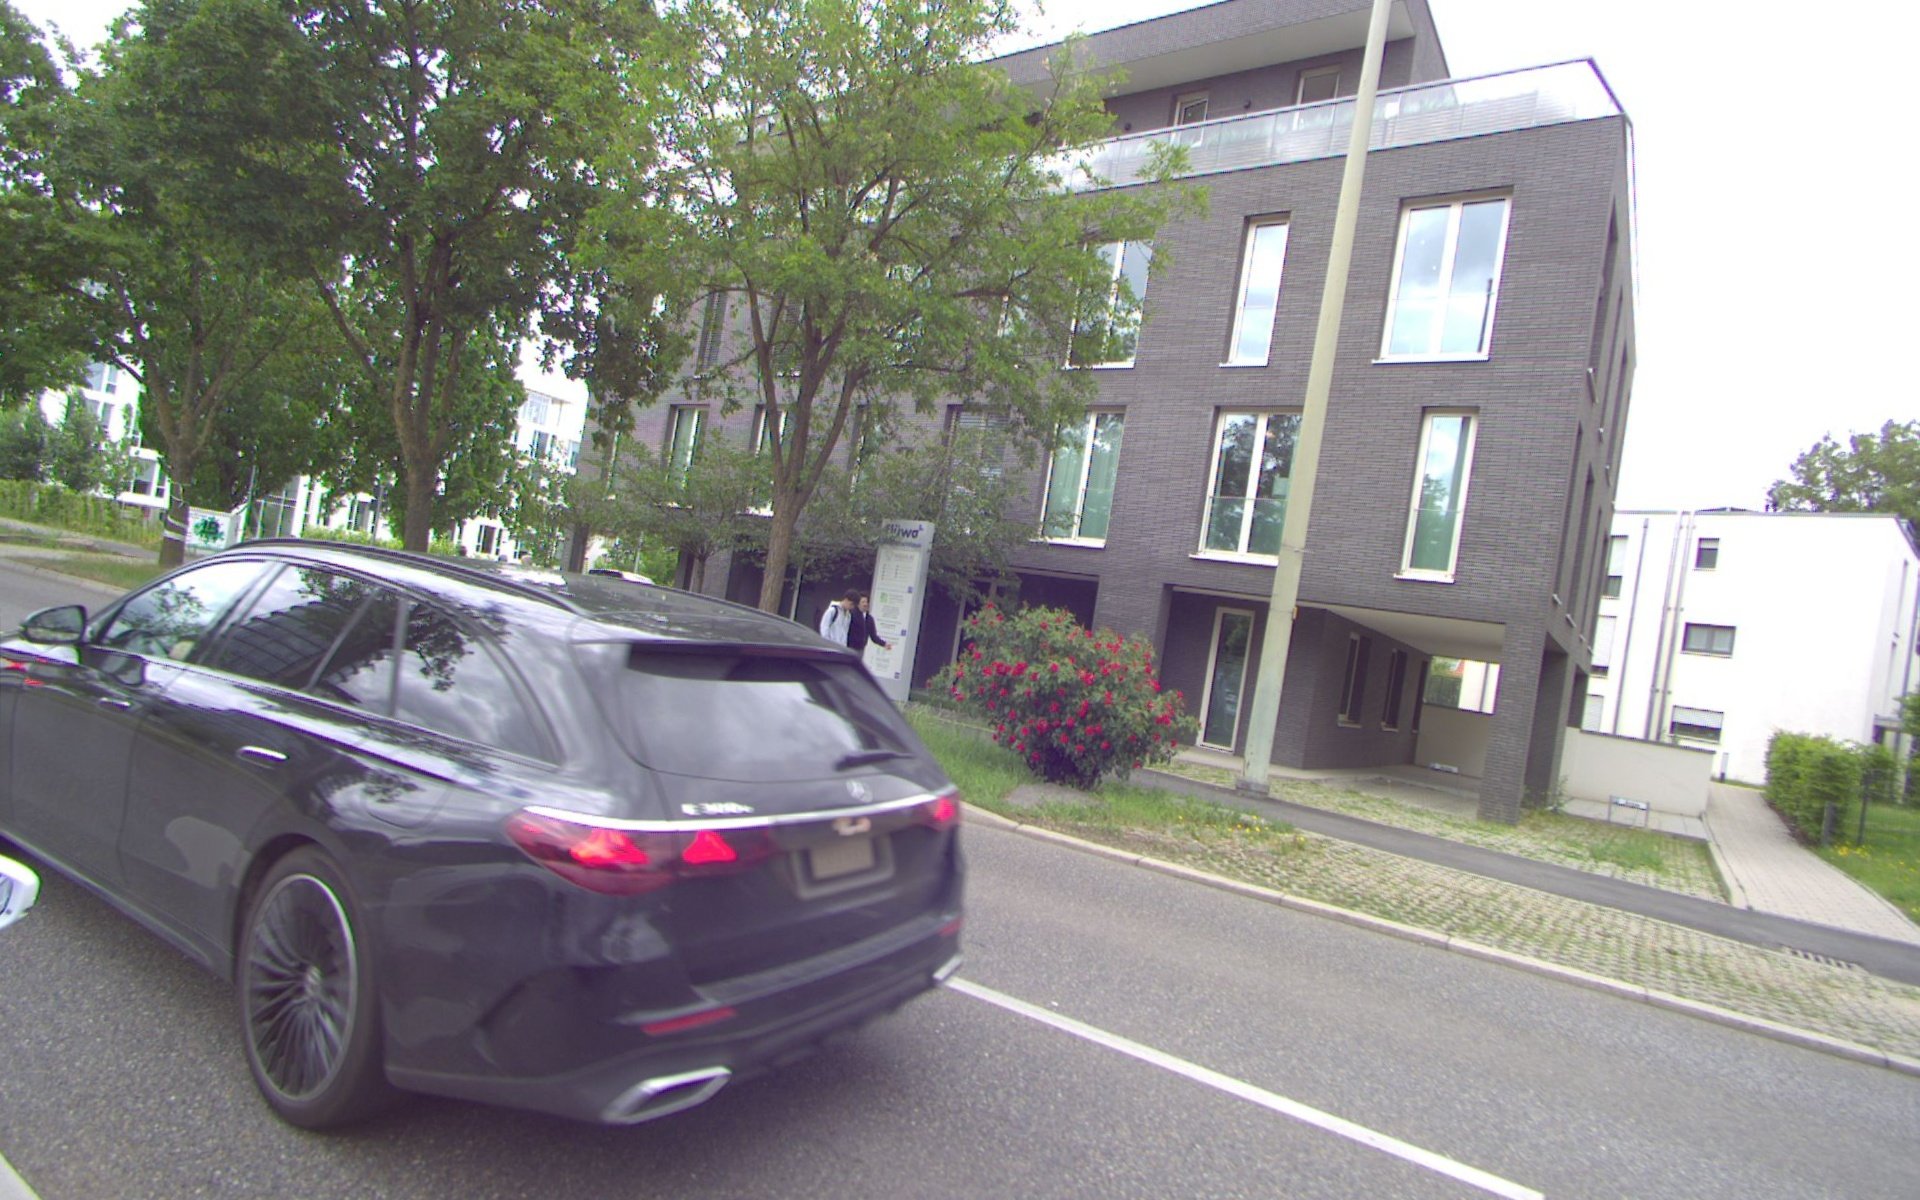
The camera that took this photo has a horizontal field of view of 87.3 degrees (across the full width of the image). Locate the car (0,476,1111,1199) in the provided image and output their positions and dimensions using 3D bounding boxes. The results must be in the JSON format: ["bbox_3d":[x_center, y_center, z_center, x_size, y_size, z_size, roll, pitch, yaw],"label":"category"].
[{"bbox_3d":[-2.136,0.520,4.046,4.890,1.503,2.057,7,-2,32],"label":"car"}]

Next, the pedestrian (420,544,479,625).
[{"bbox_3d":[-10.696,-0.319,21.088,0.578,1.570,0.726,7,-1,36],"label":"pedestrian"}]

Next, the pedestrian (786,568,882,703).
[{"bbox_3d":[-1.828,0.518,14.642,0.938,1.796,0.609,10,0,32],"label":"pedestrian"}]

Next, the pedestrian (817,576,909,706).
[{"bbox_3d":[-1.463,0.616,15.243,0.938,1.796,0.609,10,0,32],"label":"pedestrian"}]

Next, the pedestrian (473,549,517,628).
[{"bbox_3d":[-9.743,-0.243,21.091,0.553,1.569,0.409,7,-2,37],"label":"pedestrian"}]

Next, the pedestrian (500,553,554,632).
[{"bbox_3d":[-9.365,-0.165,21.752,0.732,1.570,0.589,7,-1,37],"label":"pedestrian"}]

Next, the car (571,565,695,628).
[{"bbox_3d":[-11.398,-0.133,34.995,4.111,1.570,1.828,7,-2,34],"label":"car"}]
